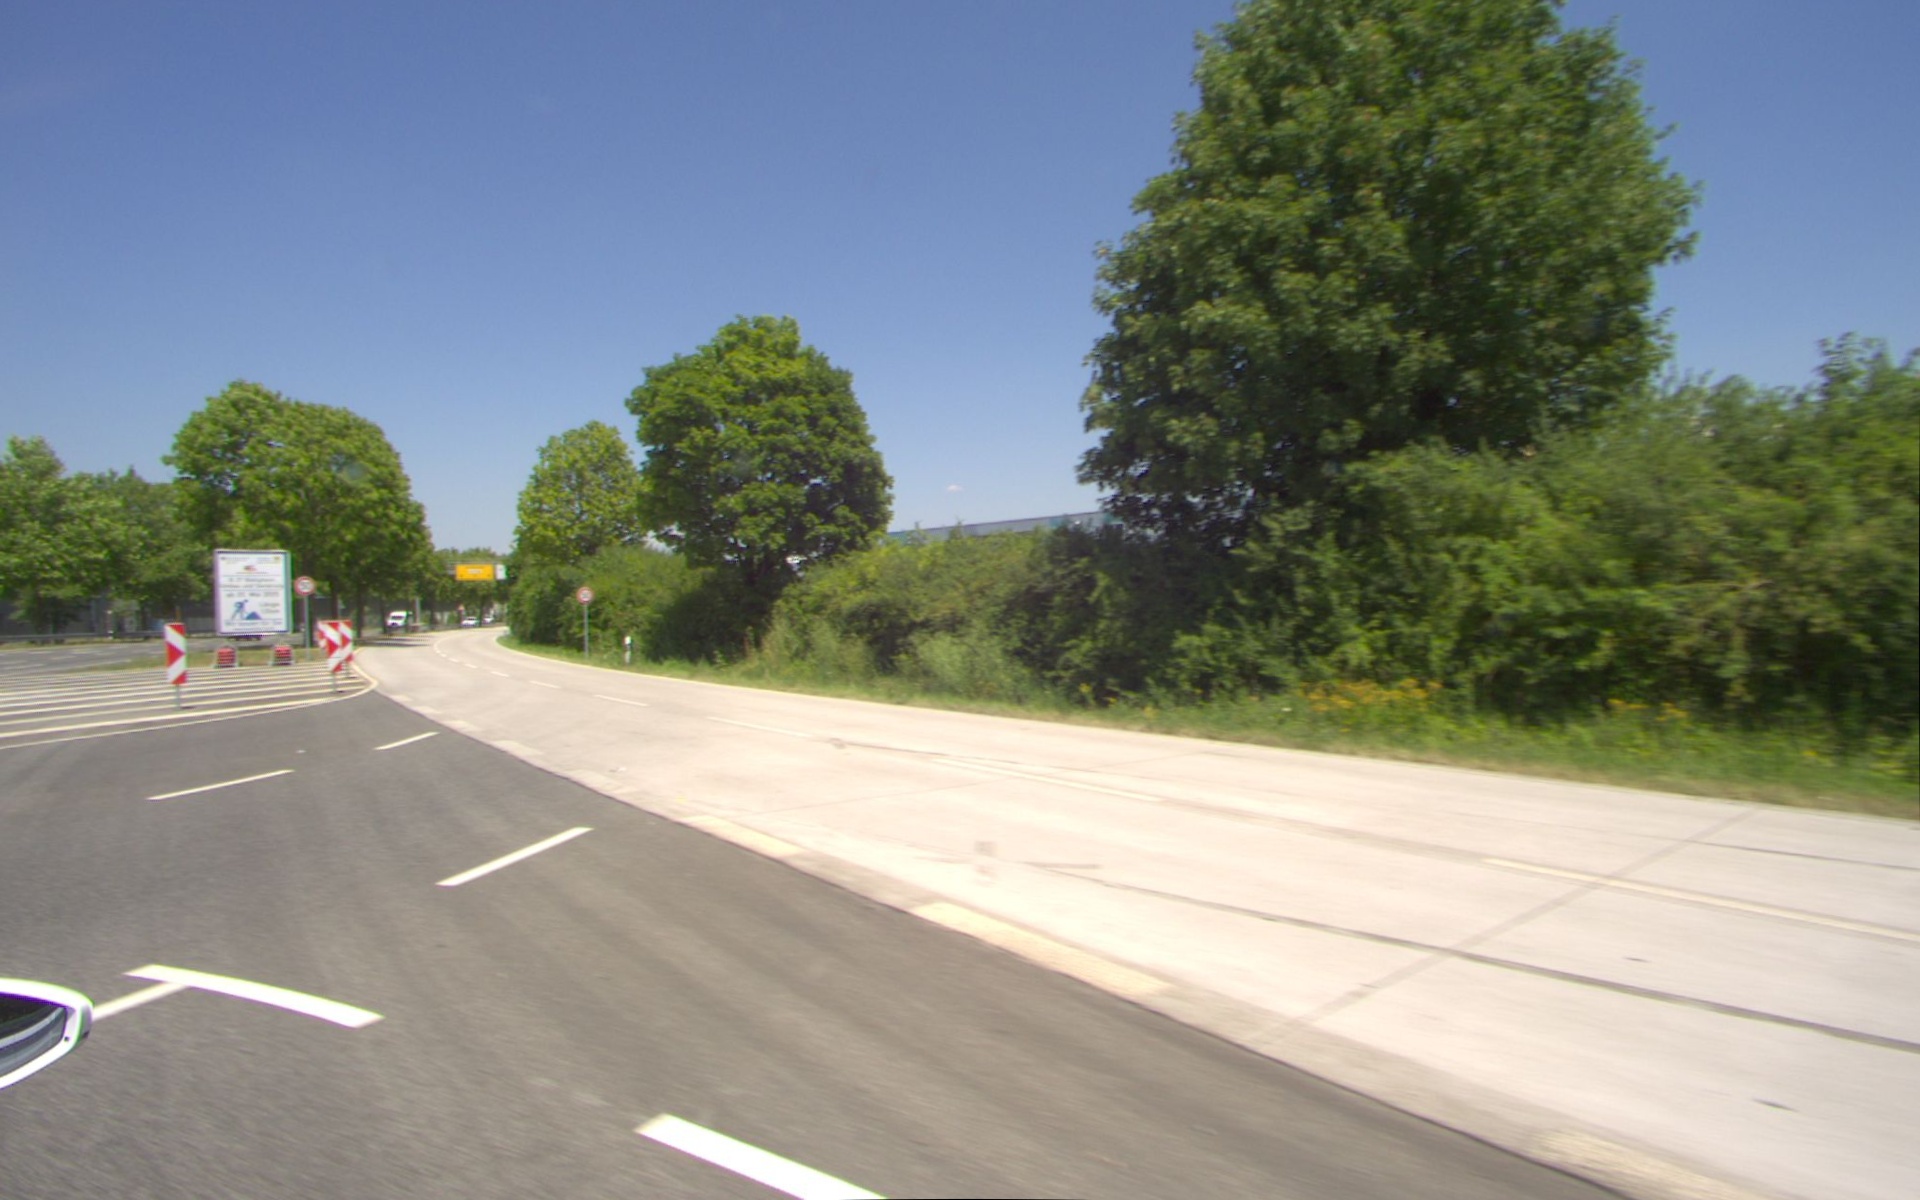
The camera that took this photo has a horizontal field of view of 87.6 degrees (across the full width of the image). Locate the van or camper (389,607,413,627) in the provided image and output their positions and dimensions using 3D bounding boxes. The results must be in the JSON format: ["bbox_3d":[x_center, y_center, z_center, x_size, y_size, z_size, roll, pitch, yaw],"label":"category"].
[{"bbox_3d":[-77.034,2.368,138.024,1.965,2.717,3.993,0,-1,-17],"label":"van or camper"}]

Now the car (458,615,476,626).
[{"bbox_3d":[-79.316,3.326,161.142,1.705,1.683,3.996,0,-1,-13],"label":"car"}]
